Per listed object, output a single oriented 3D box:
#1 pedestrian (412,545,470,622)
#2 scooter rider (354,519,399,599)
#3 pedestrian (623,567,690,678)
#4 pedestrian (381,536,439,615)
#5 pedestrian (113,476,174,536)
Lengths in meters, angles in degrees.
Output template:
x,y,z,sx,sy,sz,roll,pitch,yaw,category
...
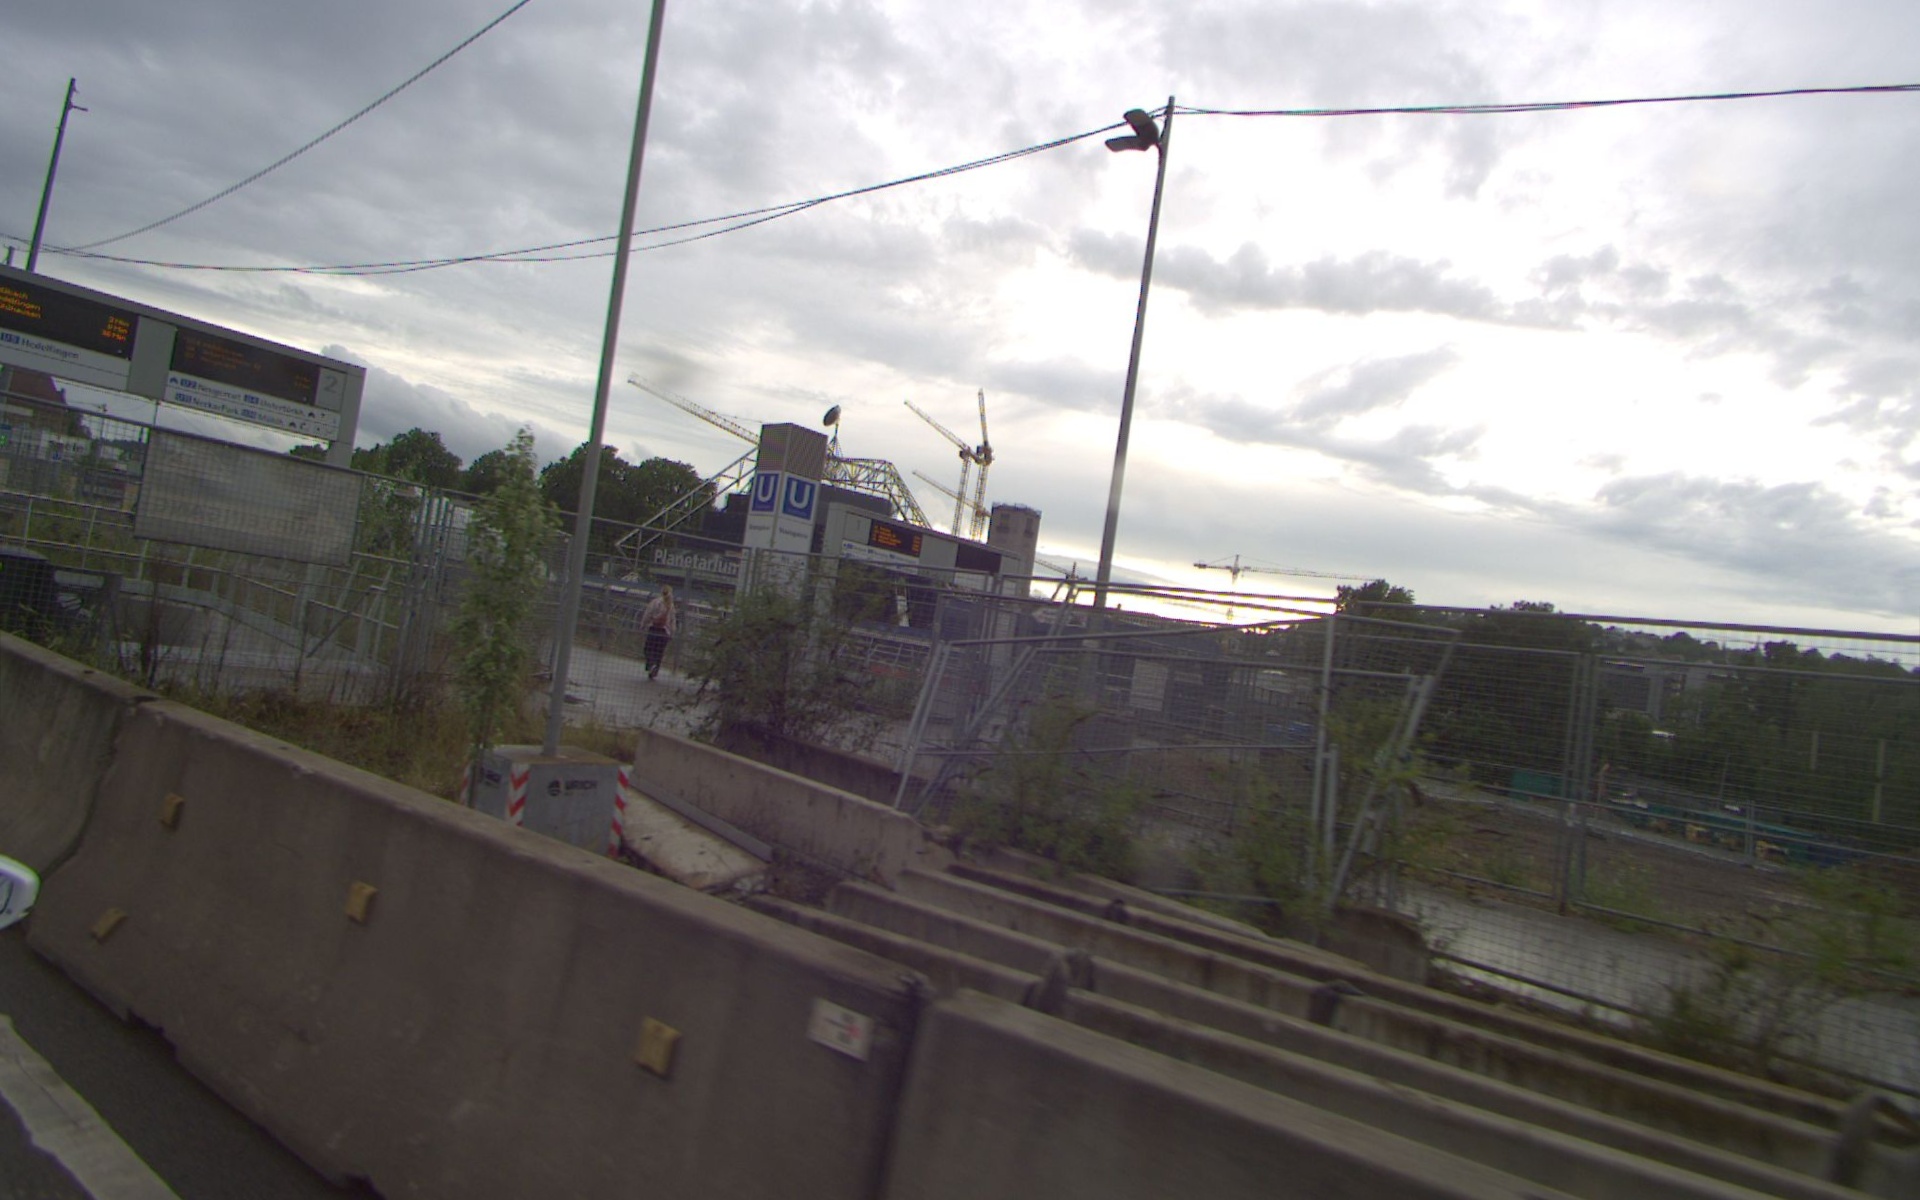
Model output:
x,y,z,sx,sy,sz,roll,pitch,yaw,category
-13.226,-0.430,25.646,1.007,1.798,0.727,7,-1,35,pedestrian
-13.736,-0.974,23.675,0.689,1.776,0.520,9,0,42,scooter rider
-5.269,0.373,17.439,0.685,1.798,0.808,9,-1,-33,pedestrian
-13.658,-0.608,24.988,1.007,1.798,0.690,7,-1,36,pedestrian
-26.293,-3.020,32.405,0.882,1.677,1.024,8,-1,10,pedestrian
